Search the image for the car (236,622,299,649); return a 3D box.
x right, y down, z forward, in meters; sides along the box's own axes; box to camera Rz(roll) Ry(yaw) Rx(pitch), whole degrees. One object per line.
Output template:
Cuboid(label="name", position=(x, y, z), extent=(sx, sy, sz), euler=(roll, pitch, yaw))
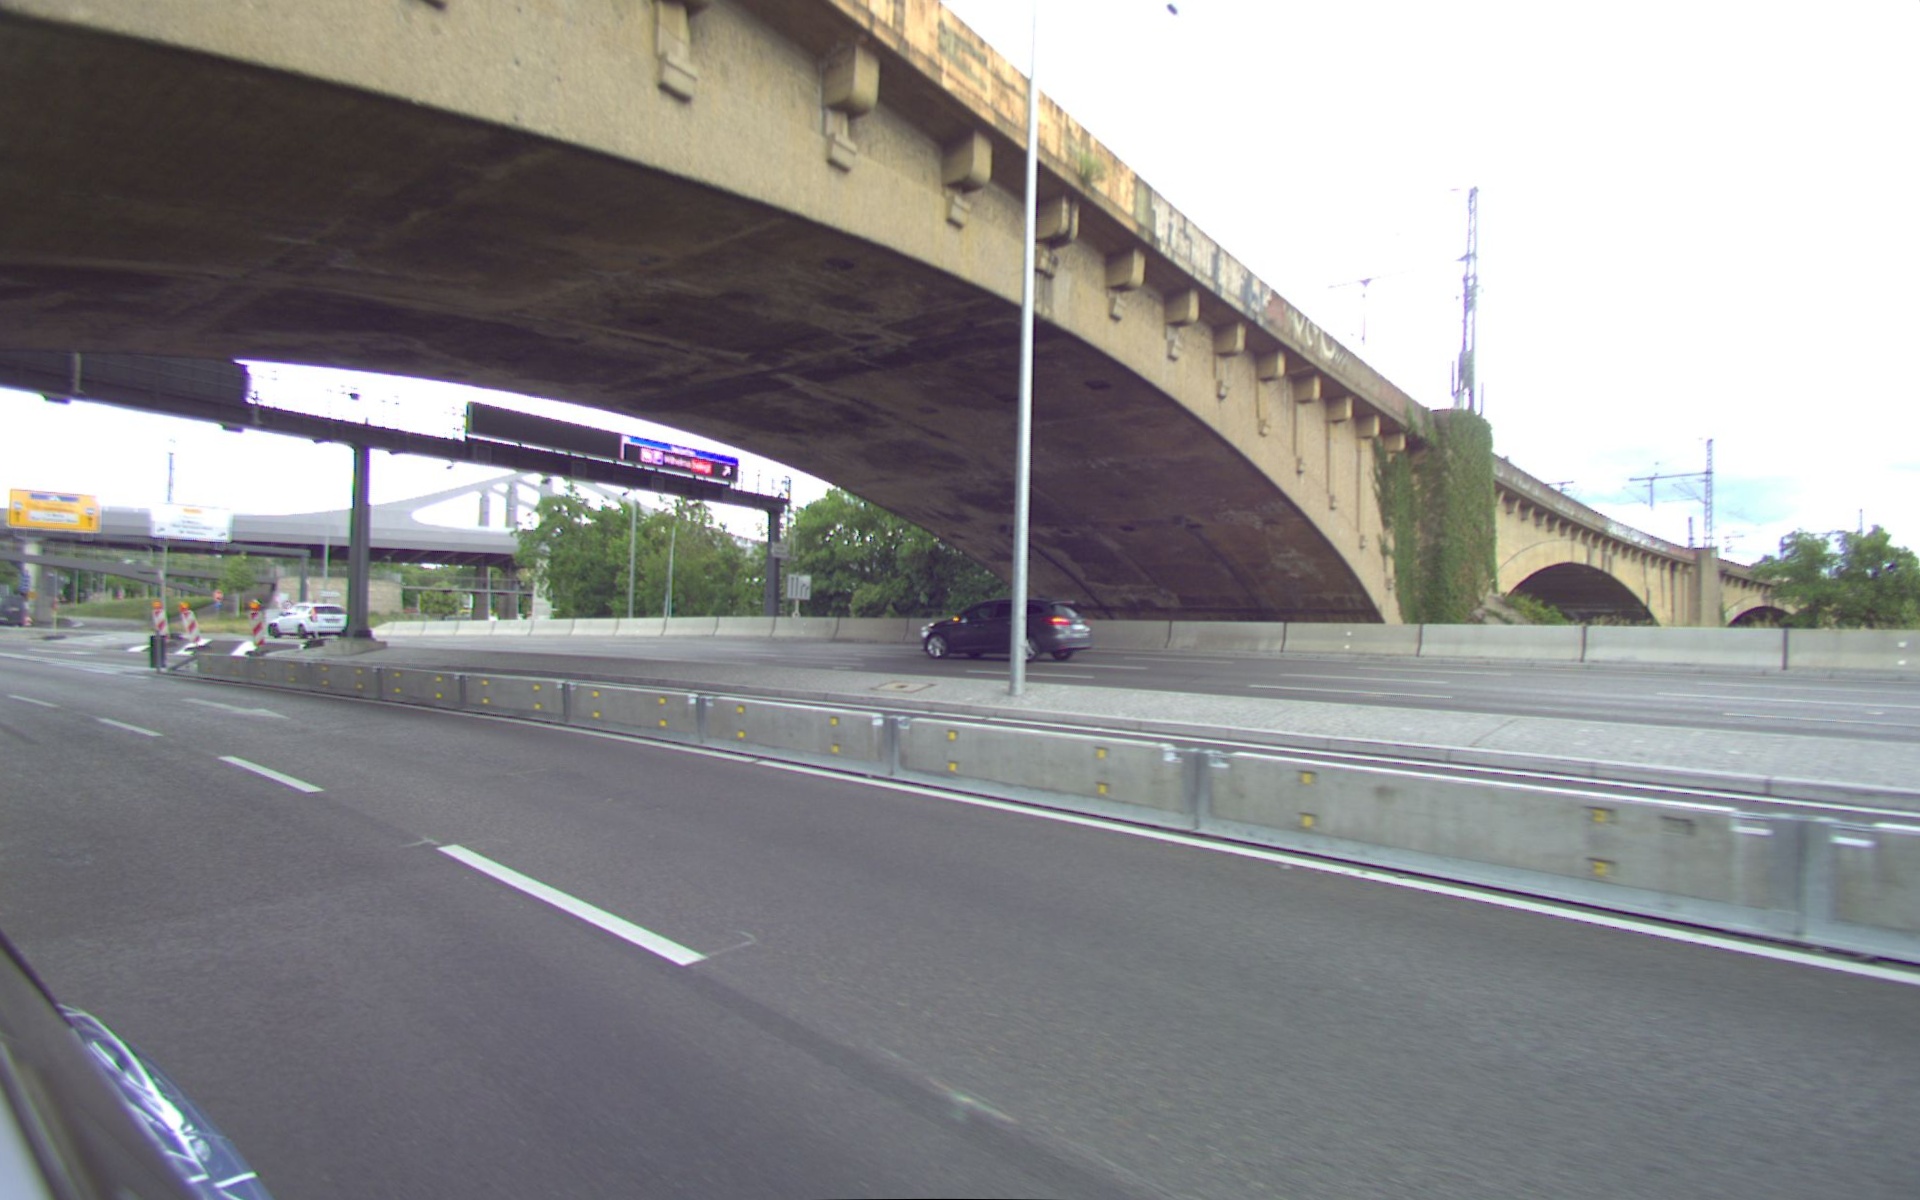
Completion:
Cuboid(label="car", position=(-42.766, 2.178, 62.492), extent=(4.391, 1.548, 1.801), euler=(-1, -1, 35))

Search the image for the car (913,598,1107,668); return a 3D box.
Cuboid(label="car", position=(1.153, 0.758, 24.381), extent=(4.391, 1.548, 1.801), euler=(-1, -1, 35))

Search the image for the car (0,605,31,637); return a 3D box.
Cuboid(label="car", position=(-77.691, 1.656, 82.092), extent=(6.184, 2.509, 2.269), euler=(-1, -1, 36))

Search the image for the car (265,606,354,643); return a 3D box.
Cuboid(label="car", position=(-28.140, 1.028, 43.743), extent=(4.392, 1.548, 1.821), euler=(-1, -1, 36))
